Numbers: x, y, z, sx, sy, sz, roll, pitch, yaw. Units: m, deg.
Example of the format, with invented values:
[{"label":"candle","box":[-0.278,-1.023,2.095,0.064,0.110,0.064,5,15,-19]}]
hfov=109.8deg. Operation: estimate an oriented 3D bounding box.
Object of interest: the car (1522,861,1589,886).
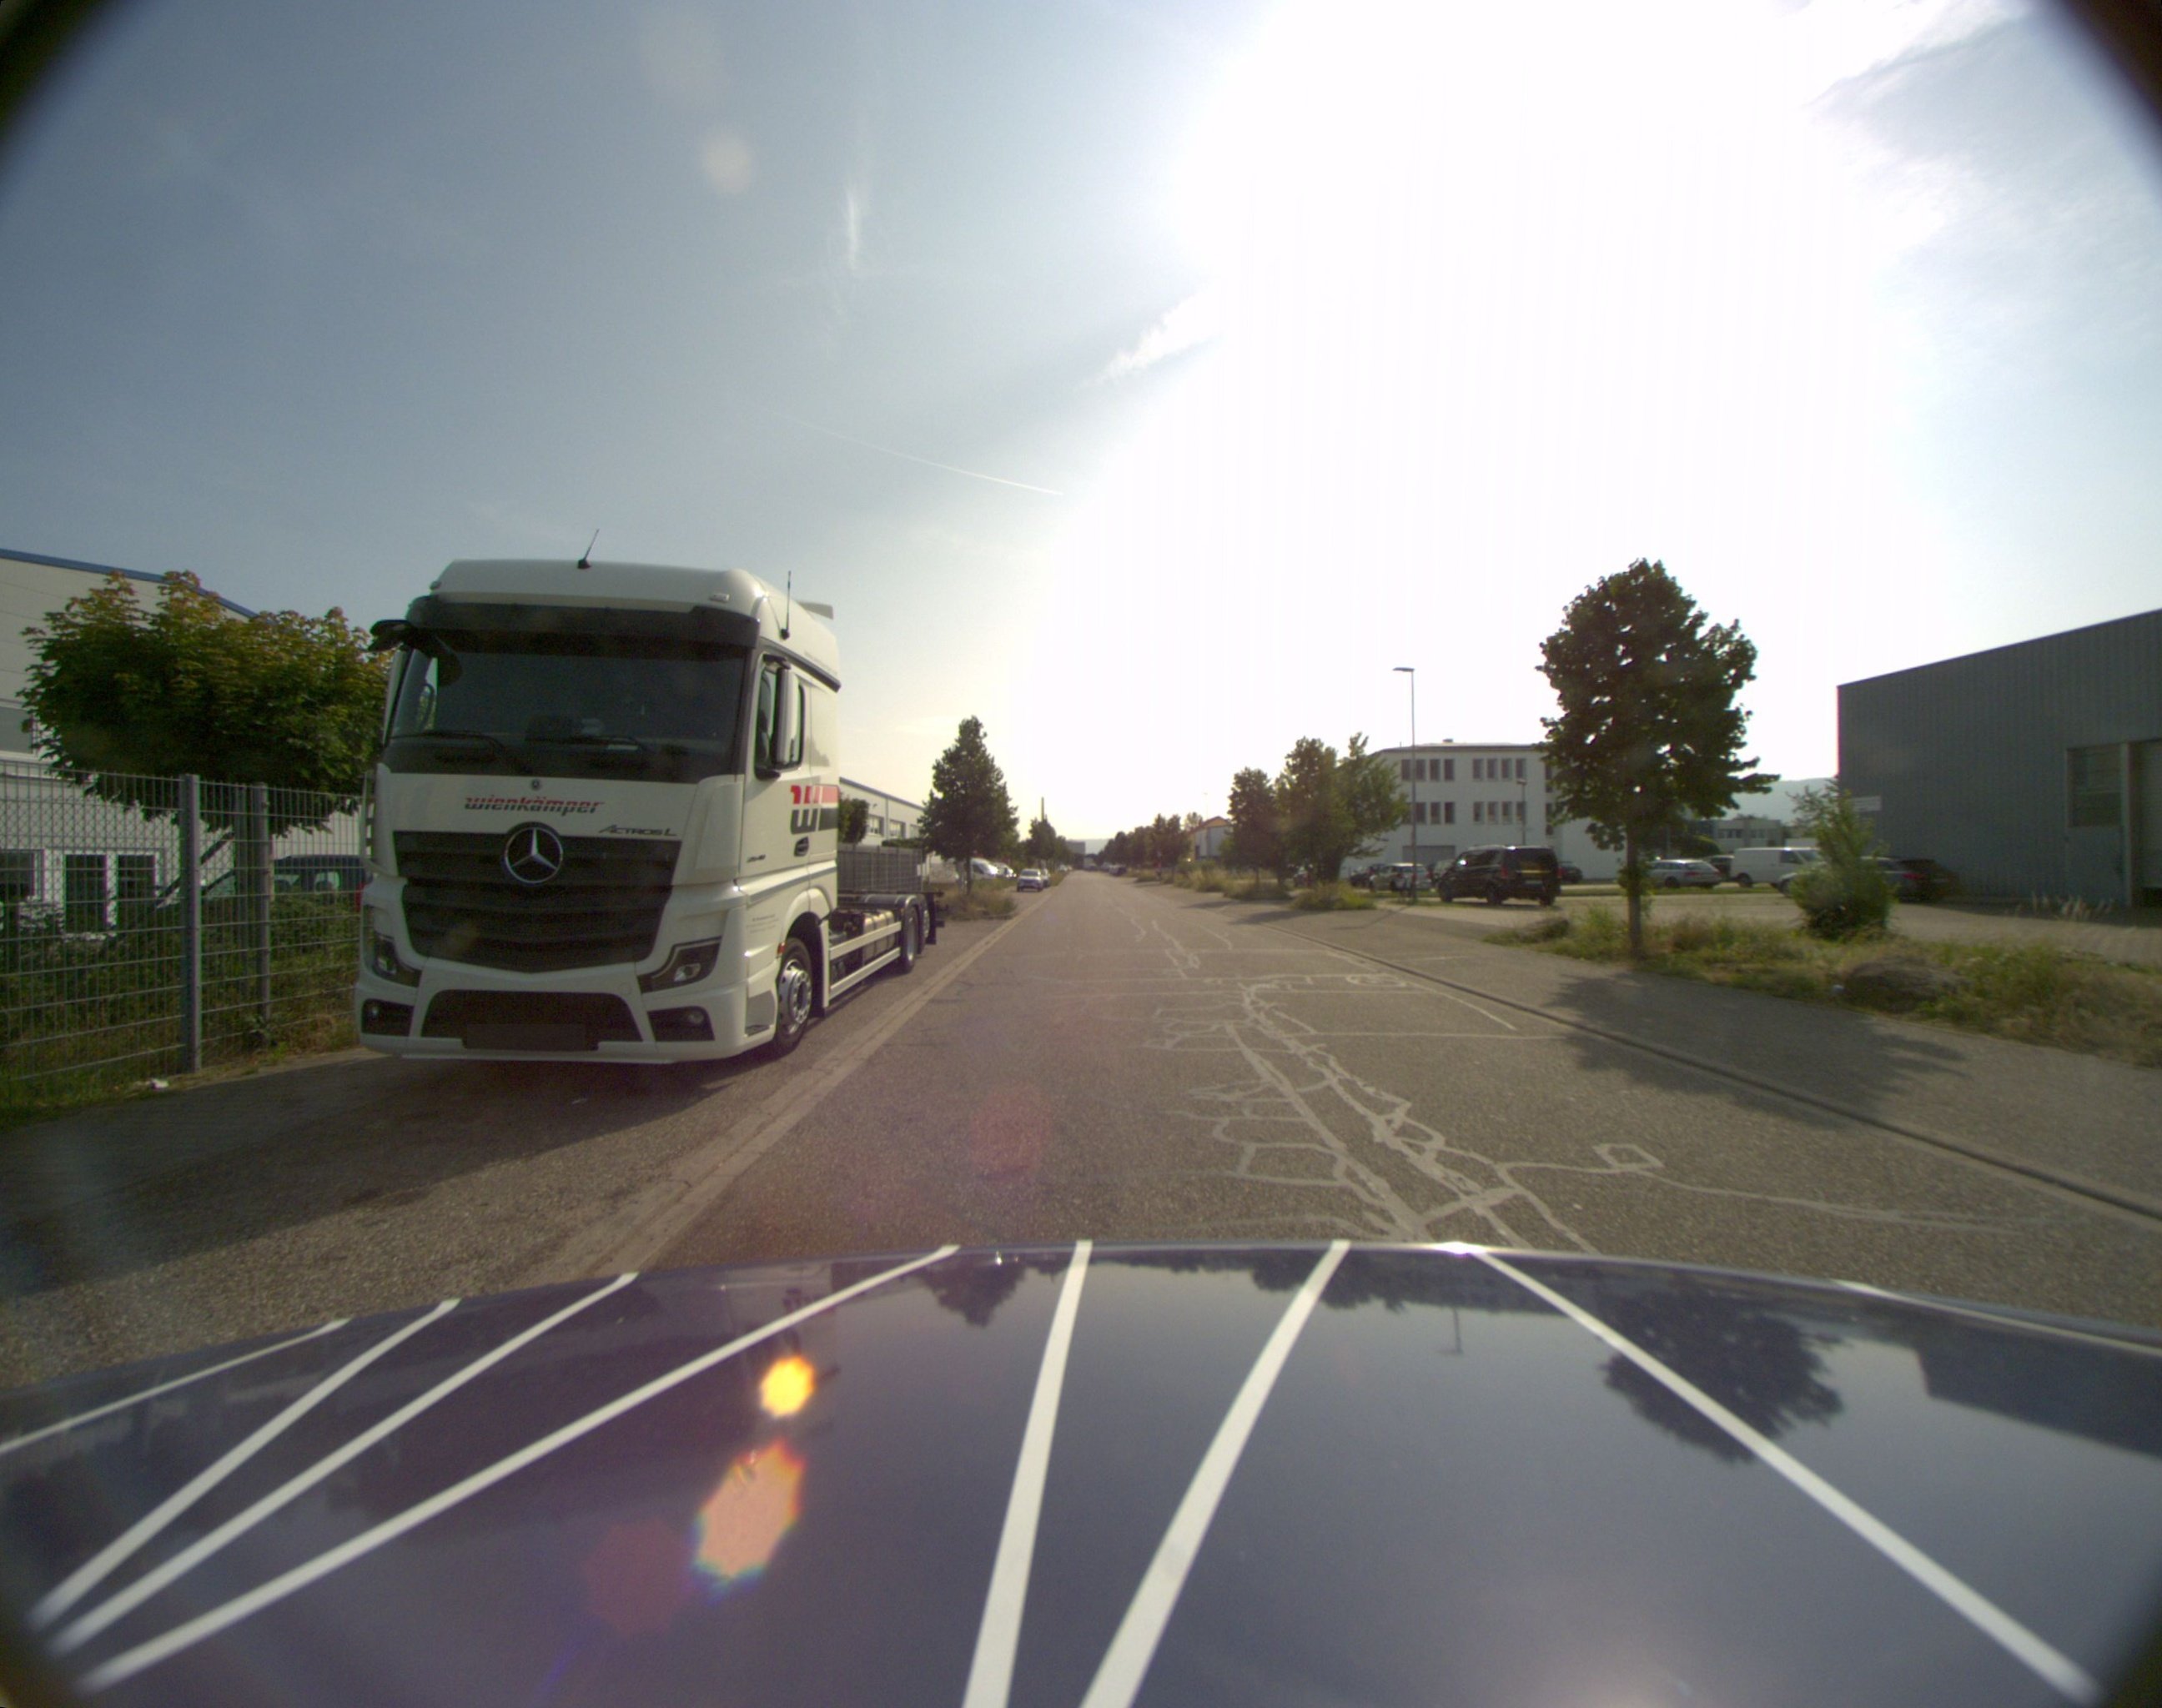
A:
[{"label":"car","box":[29.469,1.185,47.336,1.759,1.459,3.919,-1,-1,1]}]

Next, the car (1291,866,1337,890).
[{"label":"car","box":[14.704,1.510,48.132,1.759,1.401,3.919,-1,-1,1]}]

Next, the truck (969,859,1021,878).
[{"label":"truck","box":[-9.713,1.660,85.219,5.815,2.009,2.280,-1,-1,37]}]

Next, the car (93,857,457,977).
[{"label":"car","box":[-13.540,1.012,12.991,4.100,1.824,1.912,-1,0,-1]}]

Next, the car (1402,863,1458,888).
[{"label":"car","box":[21.932,1.332,47.885,1.759,1.459,3.919,-1,-1,1]}]

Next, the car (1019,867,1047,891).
[{"label":"car","box":[-3.263,1.656,51.654,1.668,1.495,3.541,1,-1,0]}]

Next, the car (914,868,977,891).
[{"label":"car","box":[-9.145,1.692,51.259,3.989,1.489,1.902,-1,-1,36]}]

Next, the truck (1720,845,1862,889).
[{"label":"truck","box":[33.589,0.607,36.199,1.999,1.892,4.952,-1,-1,-3]}]

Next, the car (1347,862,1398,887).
[{"label":"car","box":[18.345,1.268,48.009,1.759,1.459,3.919,-1,-1,1]}]

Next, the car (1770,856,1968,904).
[{"label":"car","box":[26.393,0.850,25.740,1.719,1.452,4.782,-1,-1,0]}]

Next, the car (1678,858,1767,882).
[{"label":"car","box":[40.140,0.986,47.712,1.759,1.459,4.564,-1,-1,1]}]

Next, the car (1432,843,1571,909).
[{"label":"car","box":[13.858,0.703,25.437,1.886,2.001,4.991,0,-1,0]}]

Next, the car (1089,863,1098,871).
[{"label":"car","box":[2.634,2.643,158.124,1.668,1.495,3.540,-1,1,0]}]

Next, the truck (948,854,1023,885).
[{"label":"truck","box":[-7.993,1.273,63.218,6.194,2.515,2.280,0,0,33]}]

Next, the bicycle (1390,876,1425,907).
[{"label":"bicycle","box":[11.220,1.279,26.162,0.541,0.973,1.871,-1,-1,4]}]

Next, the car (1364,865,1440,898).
[{"label":"car","box":[15.042,1.242,35.817,1.790,1.441,3.918,-1,-1,-2]}]

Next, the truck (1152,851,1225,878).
[{"label":"truck","box":[12.300,1.197,86.798,8.862,2.816,2.508,2,-1,-35]}]

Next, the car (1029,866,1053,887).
[{"label":"car","box":[-3.106,1.754,59.748,1.694,1.495,3.541,1,-1,0]}]

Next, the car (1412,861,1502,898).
[{"label":"car","box":[17.517,1.139,35.648,1.947,1.597,4.509,-1,-1,0]}]

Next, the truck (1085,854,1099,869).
[{"label":"truck","box":[2.924,2.056,211.208,3.413,4.017,10.395,-2,-1,0]}]

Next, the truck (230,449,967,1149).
[{"label":"truck","box":[-3.511,-0.247,9.244,2.753,3.991,9.686,1,-1,0]}]

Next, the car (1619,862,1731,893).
[{"label":"car","box":[27.896,1.077,35.887,1.737,1.364,4.382,-1,-1,-3]}]

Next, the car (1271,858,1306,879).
[{"label":"car","box":[18.630,1.280,68.434,1.998,1.827,4.696,-1,-1,2]}]
